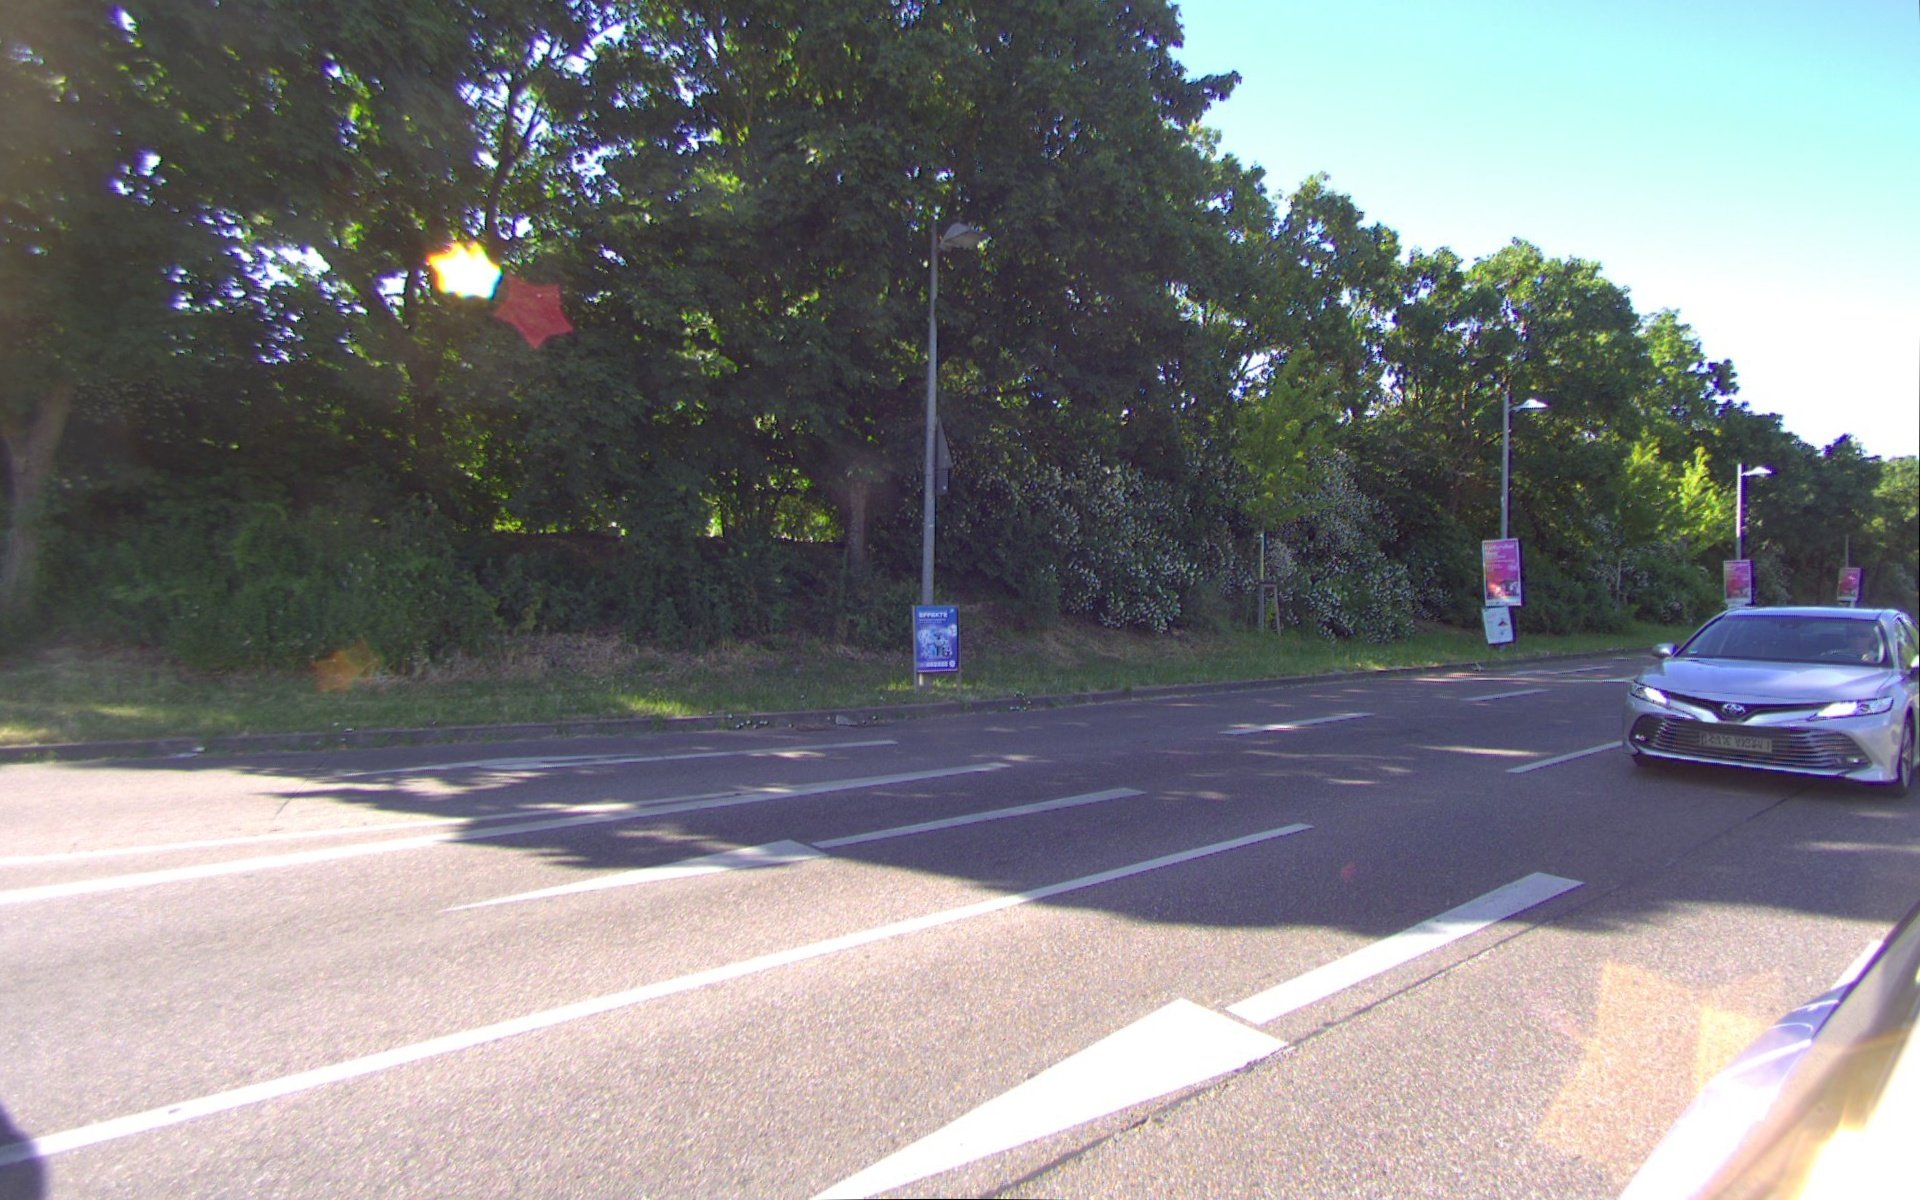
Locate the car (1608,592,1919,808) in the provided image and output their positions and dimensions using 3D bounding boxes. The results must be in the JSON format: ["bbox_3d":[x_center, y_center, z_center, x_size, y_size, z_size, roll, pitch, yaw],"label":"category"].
[{"bbox_3d":[7.755,0.681,9.183,4.512,1.454,1.875,0,1,-40],"label":"car"}]
